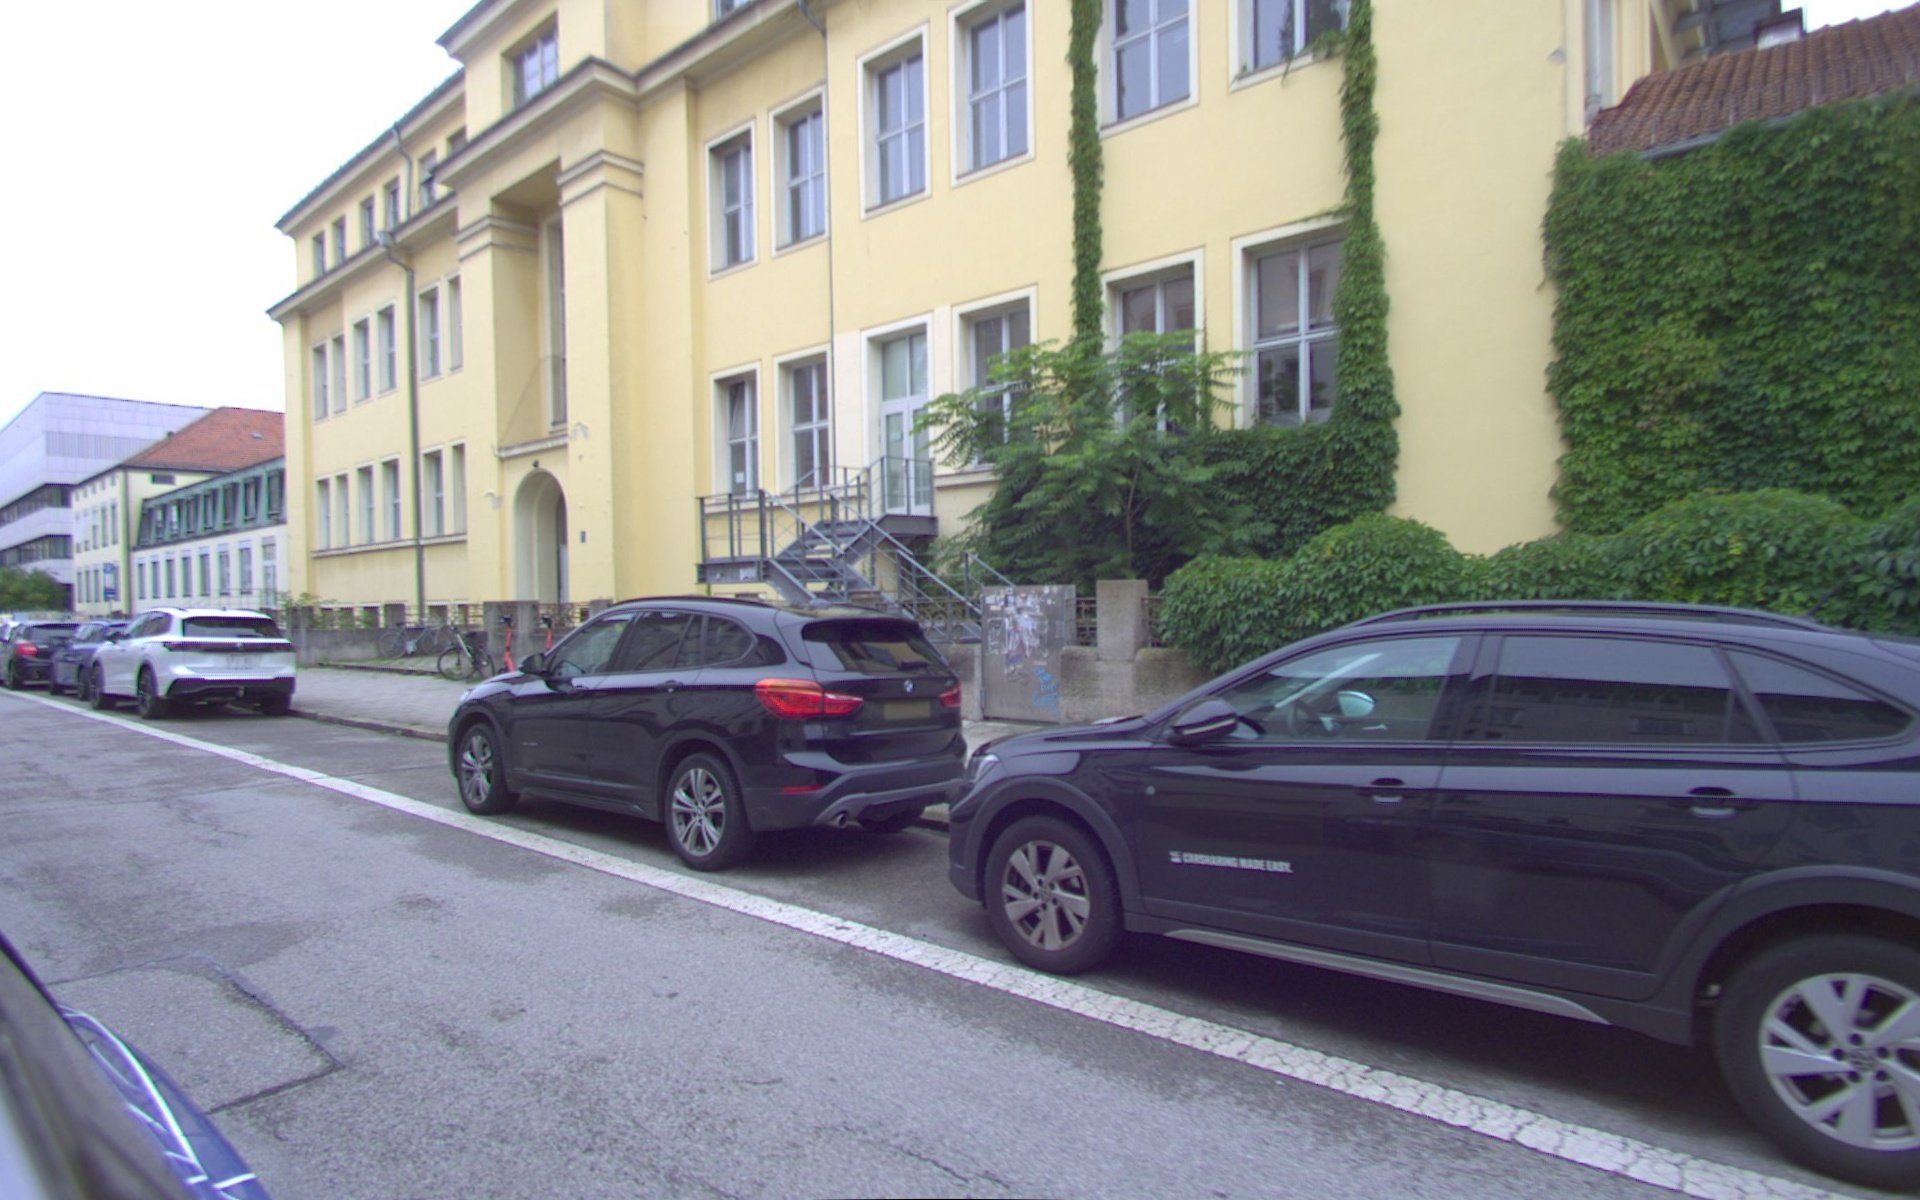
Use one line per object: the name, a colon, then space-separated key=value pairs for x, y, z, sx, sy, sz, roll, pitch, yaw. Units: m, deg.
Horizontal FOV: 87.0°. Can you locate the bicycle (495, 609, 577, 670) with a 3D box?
bicycle: x=-9.354 y=0.847 z=22.369 sx=0.526 sy=1.278 sz=1.609 roll=-1 pitch=-1 yaw=41

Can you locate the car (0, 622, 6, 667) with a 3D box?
car: x=-34.270 y=1.494 z=34.423 sx=4.523 sy=1.493 sz=1.939 roll=-1 pitch=-2 yaw=38

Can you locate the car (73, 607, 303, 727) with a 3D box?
car: x=-12.372 y=0.954 z=16.104 sx=4.849 sy=1.646 sz=1.729 roll=-1 pitch=-1 yaw=38

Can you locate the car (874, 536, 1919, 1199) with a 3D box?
car: x=1.867 y=0.695 z=3.997 sx=4.461 sy=1.642 sz=1.707 roll=-1 pitch=-2 yaw=39

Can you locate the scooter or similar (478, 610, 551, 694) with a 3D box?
scooter or similar: x=-7.711 y=0.879 z=17.483 sx=1.500 sy=1.379 sz=0.554 roll=-1 pitch=-1 yaw=41

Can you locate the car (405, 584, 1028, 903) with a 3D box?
car: x=-1.993 y=0.770 z=7.292 sx=4.812 sy=1.599 sz=1.772 roll=-1 pitch=-2 yaw=38

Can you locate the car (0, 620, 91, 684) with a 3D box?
car: x=-24.004 y=1.270 z=26.033 sx=4.649 sy=1.442 sz=1.767 roll=-1 pitch=1 yaw=40

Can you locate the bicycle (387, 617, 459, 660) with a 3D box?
bicycle: x=-13.795 y=0.975 z=26.028 sx=0.425 sy=1.058 sz=1.643 roll=-1 pitch=-1 yaw=33

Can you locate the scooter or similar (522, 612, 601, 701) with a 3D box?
scooter or similar: x=-6.508 y=0.902 z=16.503 sx=1.500 sy=1.379 sz=0.554 roll=-1 pitch=-1 yaw=41

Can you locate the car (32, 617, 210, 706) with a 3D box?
car: x=-16.113 y=1.140 z=19.363 sx=4.490 sy=1.514 sz=1.686 roll=-1 pitch=-5 yaw=39

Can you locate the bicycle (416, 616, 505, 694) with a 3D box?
bicycle: x=-9.275 y=0.983 z=18.752 sx=2.112 sy=1.338 sz=0.674 roll=-1 pitch=1 yaw=41

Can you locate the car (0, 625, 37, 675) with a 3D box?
car: x=-29.842 y=1.481 z=30.855 sx=4.659 sy=1.440 sz=1.776 roll=-1 pitch=-3 yaw=39

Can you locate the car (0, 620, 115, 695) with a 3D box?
car: x=-20.248 y=1.221 z=22.373 sx=4.146 sy=1.508 sz=1.682 roll=-1 pitch=-3 yaw=40
